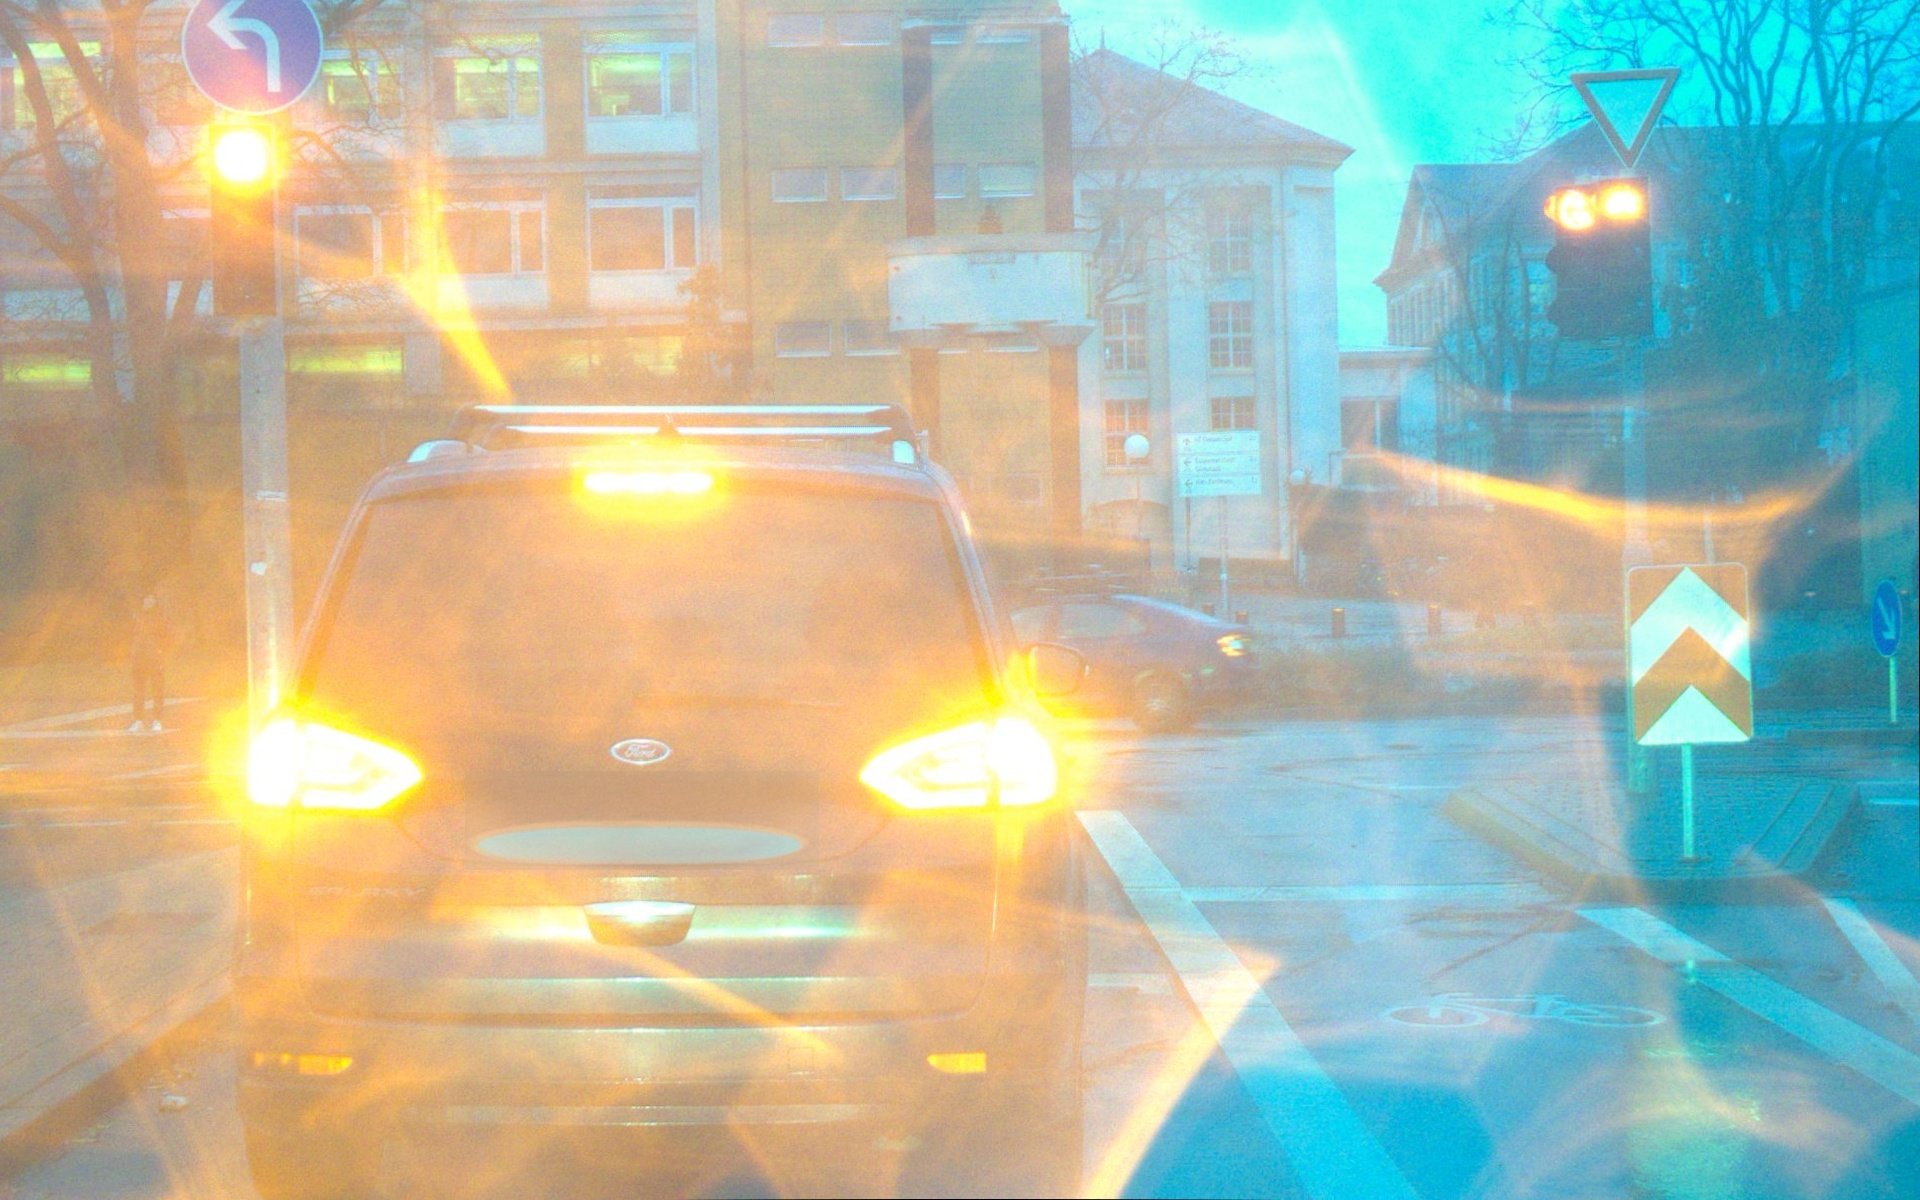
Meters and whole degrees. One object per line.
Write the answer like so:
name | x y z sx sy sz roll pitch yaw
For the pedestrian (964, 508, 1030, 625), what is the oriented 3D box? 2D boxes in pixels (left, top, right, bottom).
pedestrian | 0.532 -0.476 49.512 0.684 1.655 0.677 1 -1 -30

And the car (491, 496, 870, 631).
car | -4.272 -0.541 52.986 5.548 2.017 1.999 0 -1 6

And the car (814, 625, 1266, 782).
car | 0.874 1.062 36.081 4.436 1.575 1.967 0 -1 13

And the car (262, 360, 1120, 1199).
car | -0.545 0.406 8.626 1.647 1.812 4.000 0 1 -1

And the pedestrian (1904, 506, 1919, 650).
pedestrian | 12.306 -0.277 43.972 0.438 1.832 0.459 0 -1 17
